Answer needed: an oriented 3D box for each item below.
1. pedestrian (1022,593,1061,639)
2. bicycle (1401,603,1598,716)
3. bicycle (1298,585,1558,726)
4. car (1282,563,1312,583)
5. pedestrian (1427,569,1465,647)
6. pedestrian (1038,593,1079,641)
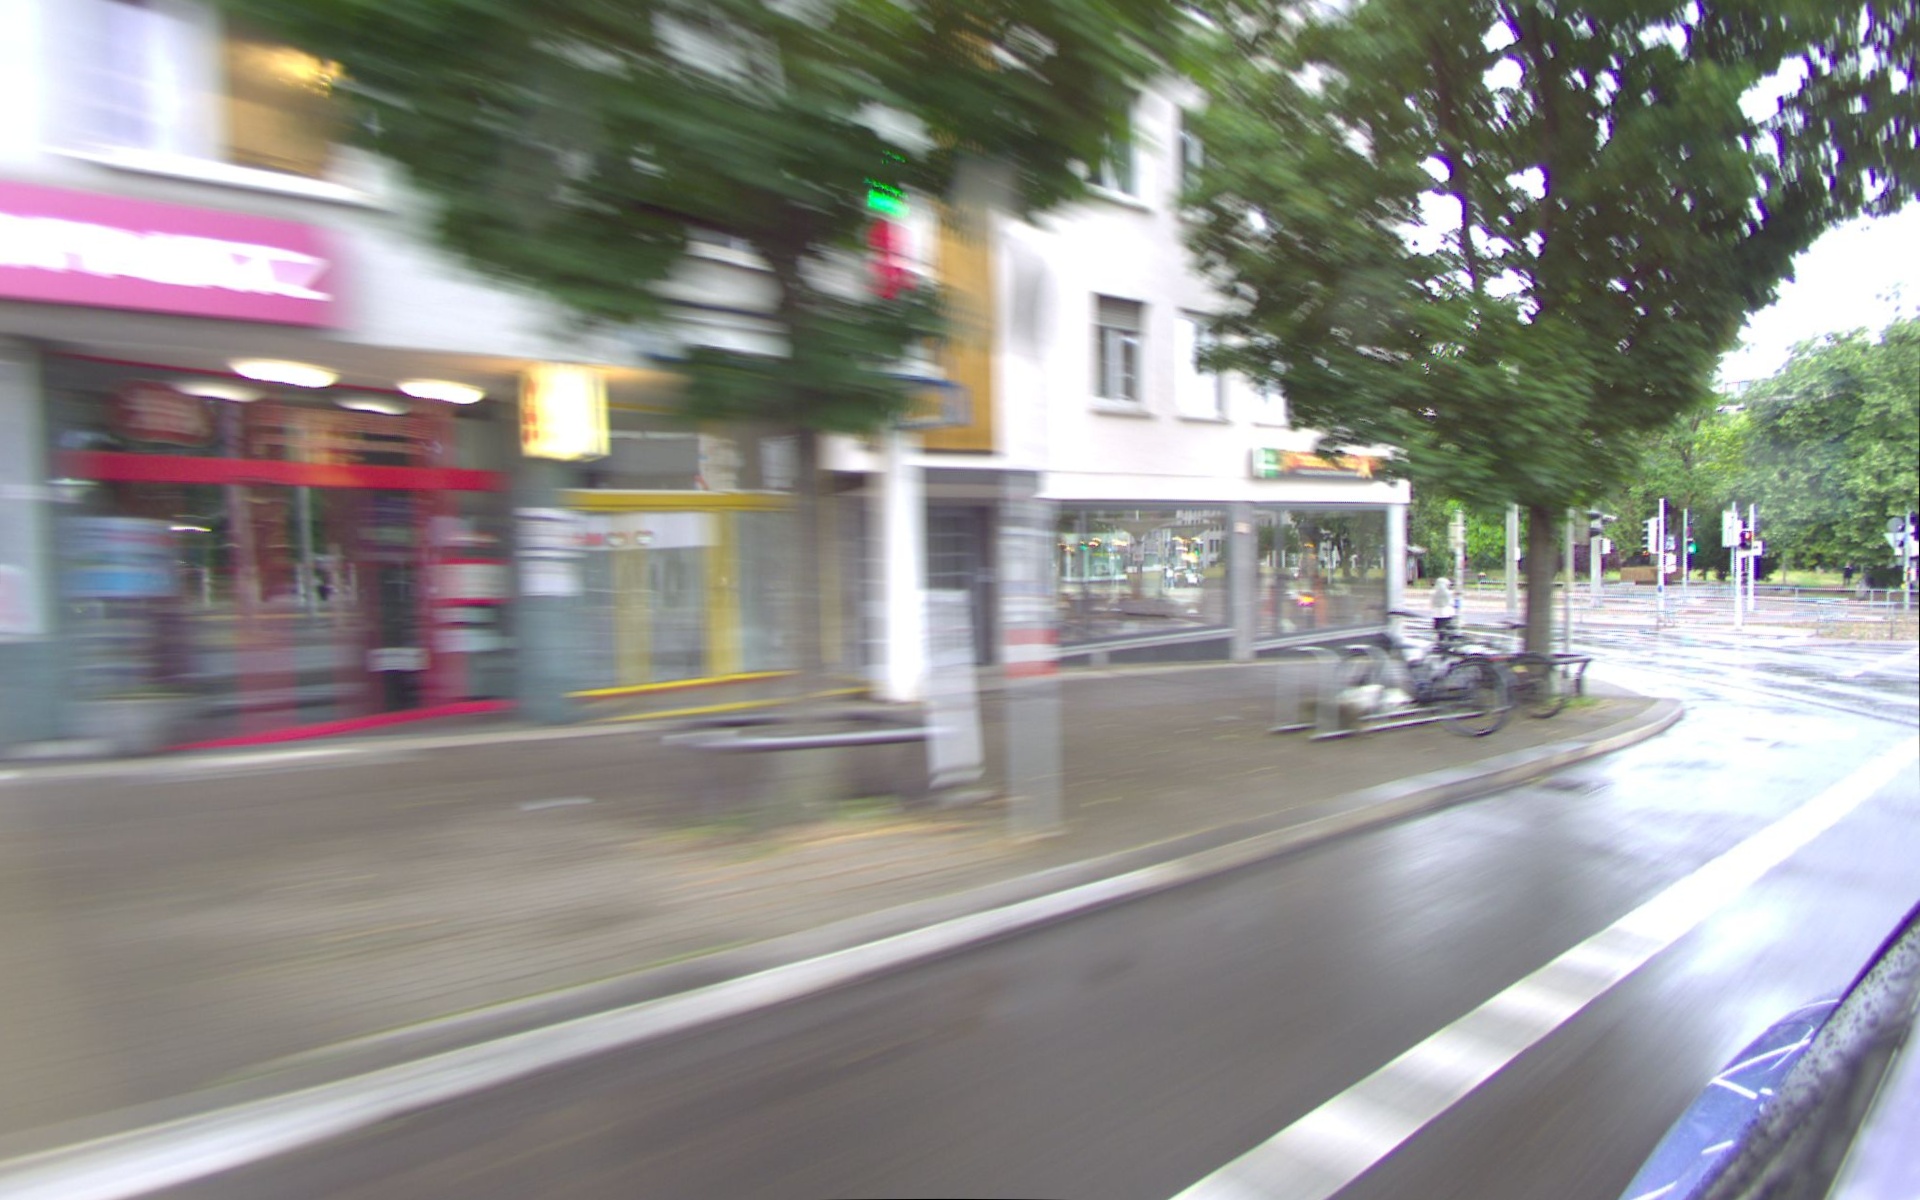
[{"bbox_3d":[2.199,0.424,27.379,0.901,1.206,0.568,-1,2,-36],"label":"pedestrian"},{"bbox_3d":[5.952,0.613,11.258,0.637,1.105,1.822,1,1,-36],"label":"bicycle"},{"bbox_3d":[4.539,0.470,10.028,0.637,1.188,2.323,-2,3,-36],"label":"bicycle"},{"bbox_3d":[25.569,-2.089,76.763,1.686,1.466,3.507,0,2,27],"label":"car"},{"bbox_3d":[10.986,0.174,22.889,0.519,1.733,0.705,0,1,2],"label":"pedestrian"},{"bbox_3d":[2.611,0.442,26.817,0.915,1.206,0.635,-1,2,-36],"label":"pedestrian"}]
